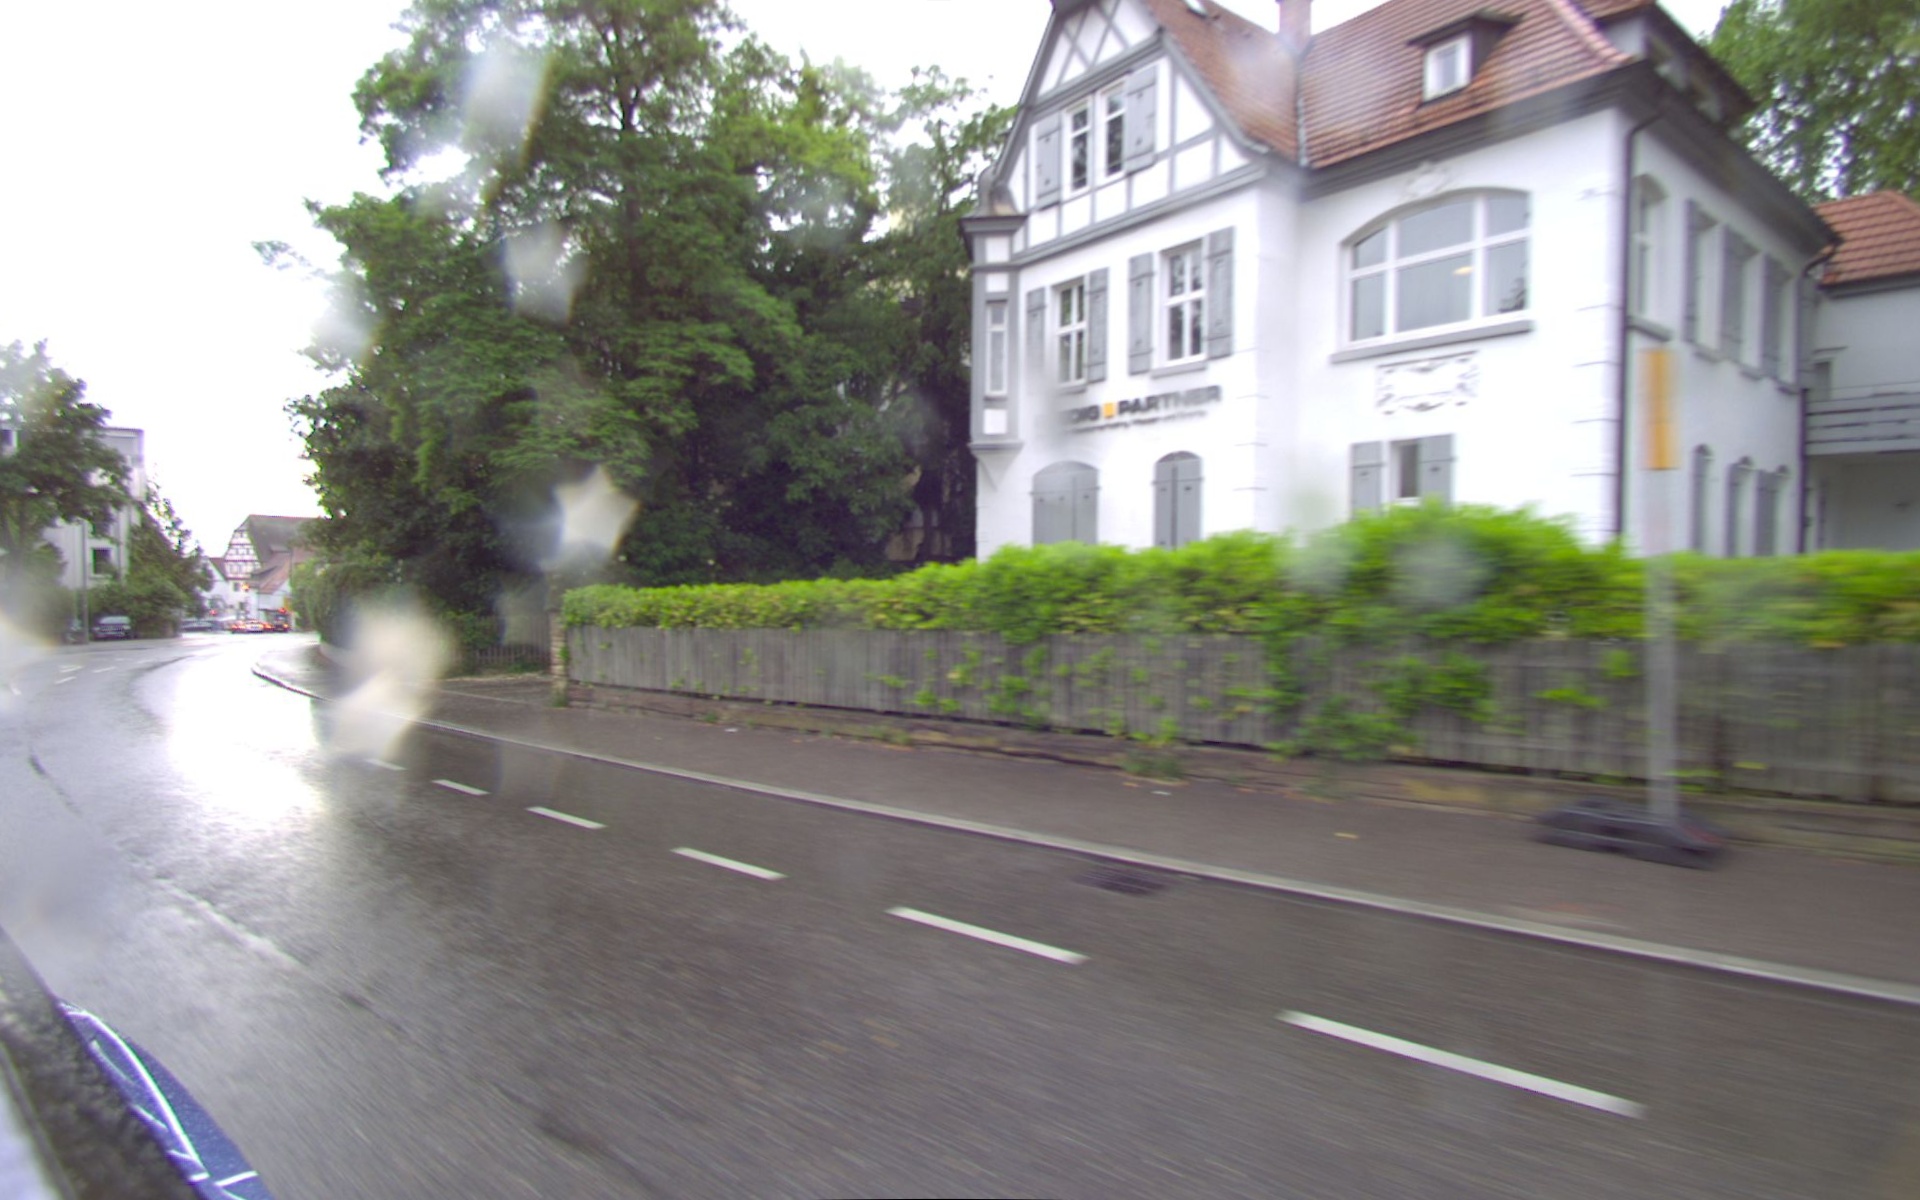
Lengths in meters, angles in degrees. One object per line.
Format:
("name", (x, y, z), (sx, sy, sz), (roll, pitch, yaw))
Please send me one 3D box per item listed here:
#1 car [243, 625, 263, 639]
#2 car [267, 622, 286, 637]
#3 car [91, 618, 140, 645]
("car", (-79.629, 3.584, 113.945), (1.775, 1.450, 4.699), (-1, -1, -36))
("car", (-81.976, 3.502, 121.334), (1.722, 1.583, 3.823), (-5, 1, -34))
("car", (-53.457, 1.990, 64.145), (1.756, 1.582, 4.740), (-3, 0, -33))
